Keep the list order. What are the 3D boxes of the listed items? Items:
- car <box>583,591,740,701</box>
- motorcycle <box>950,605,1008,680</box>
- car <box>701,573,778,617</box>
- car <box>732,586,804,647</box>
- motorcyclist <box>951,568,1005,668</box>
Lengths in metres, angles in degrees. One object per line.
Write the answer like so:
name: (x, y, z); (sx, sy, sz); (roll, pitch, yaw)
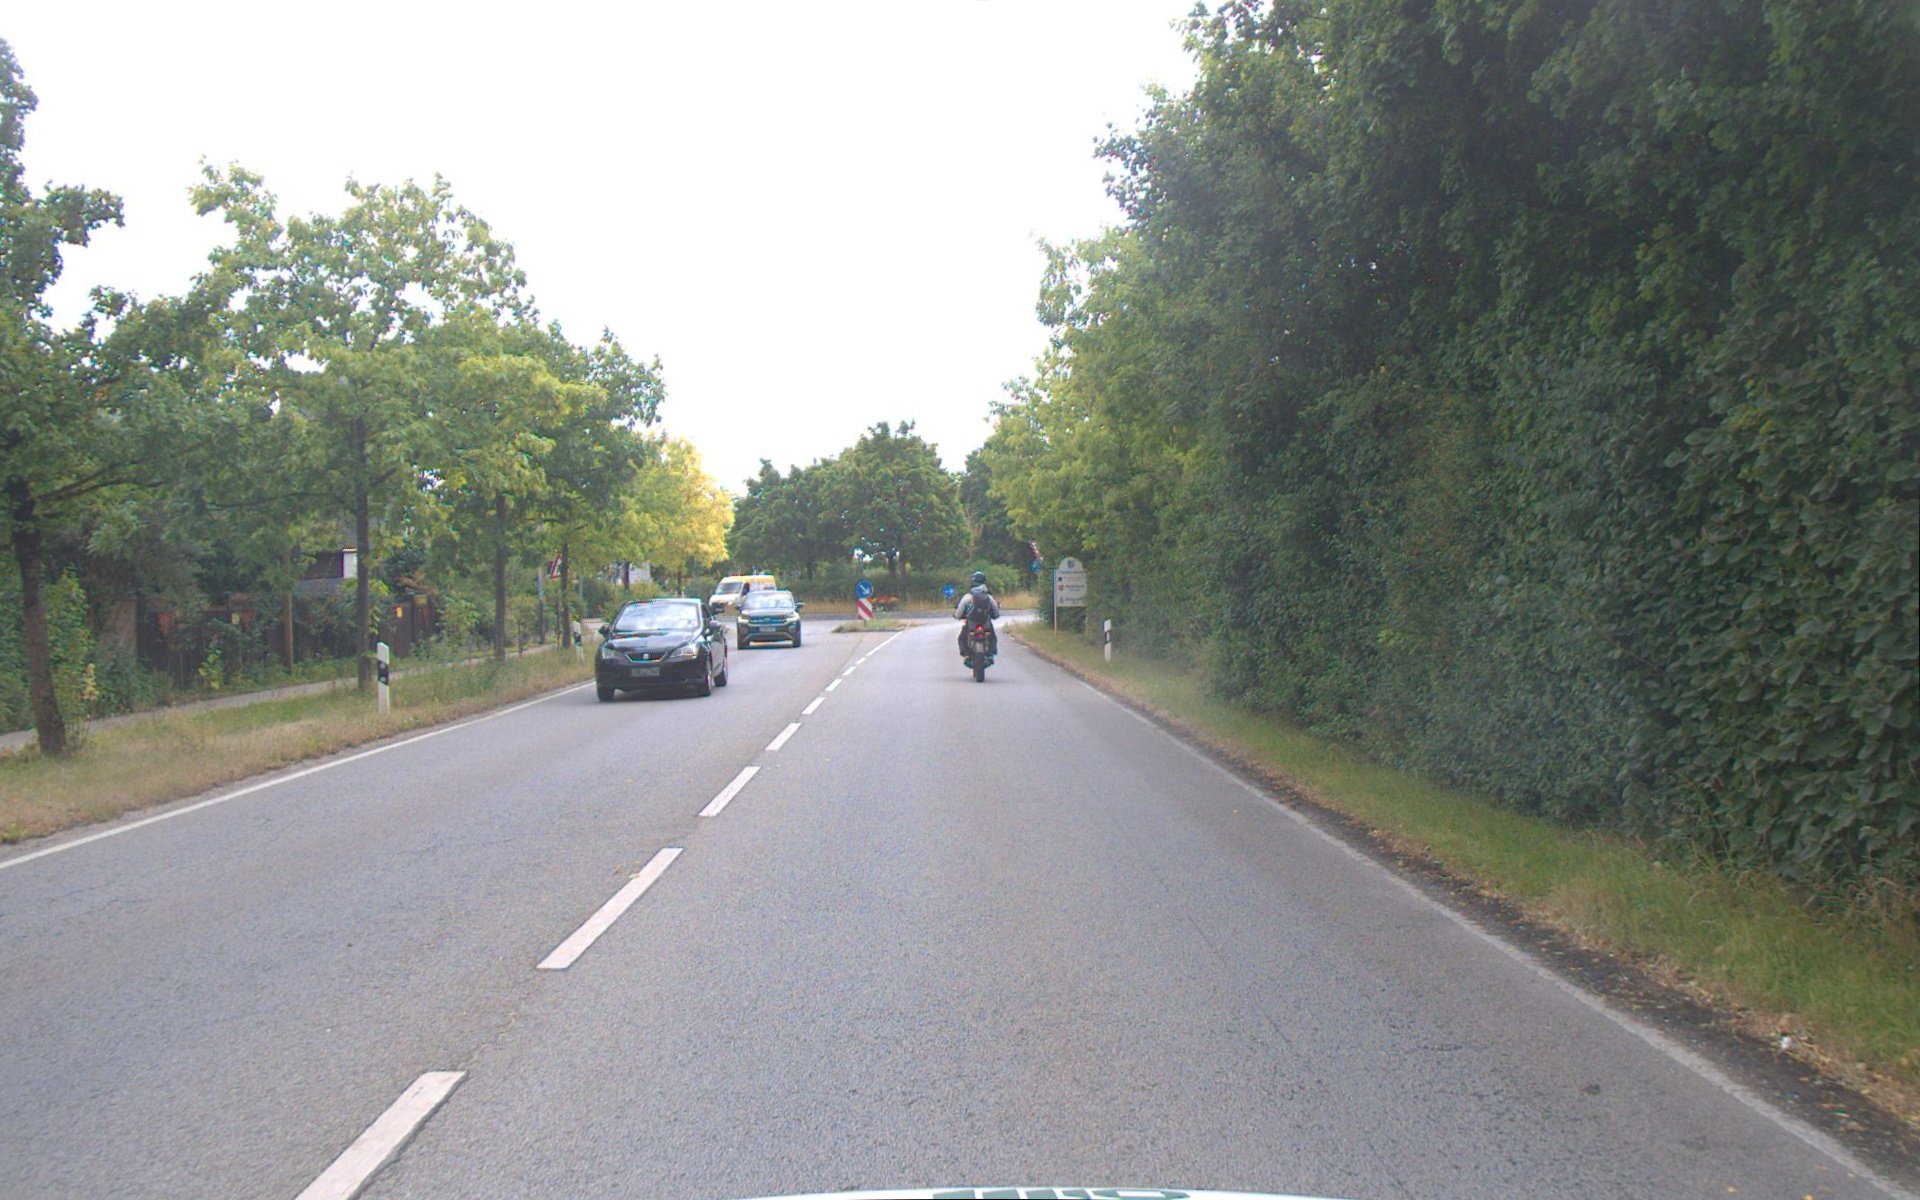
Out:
car: (-4.452, 0.635, 25.197); (1.642, 1.436, 4.012); (-3, 1, -1)
motorcycle: (0.300, 0.689, 28.093); (0.878, 1.178, 2.619); (-1, 0, -2)
car: (-13.379, -0.331, 100.905); (2.118, 2.494, 5.440); (-1, 1, 23)
car: (-5.327, 0.416, 46.308); (1.699, 1.561, 4.092); (-2, 0, -3)
motorcyclist: (0.297, 0.303, 28.121); (0.844, 1.652, 1.190); (-1, 0, -2)
